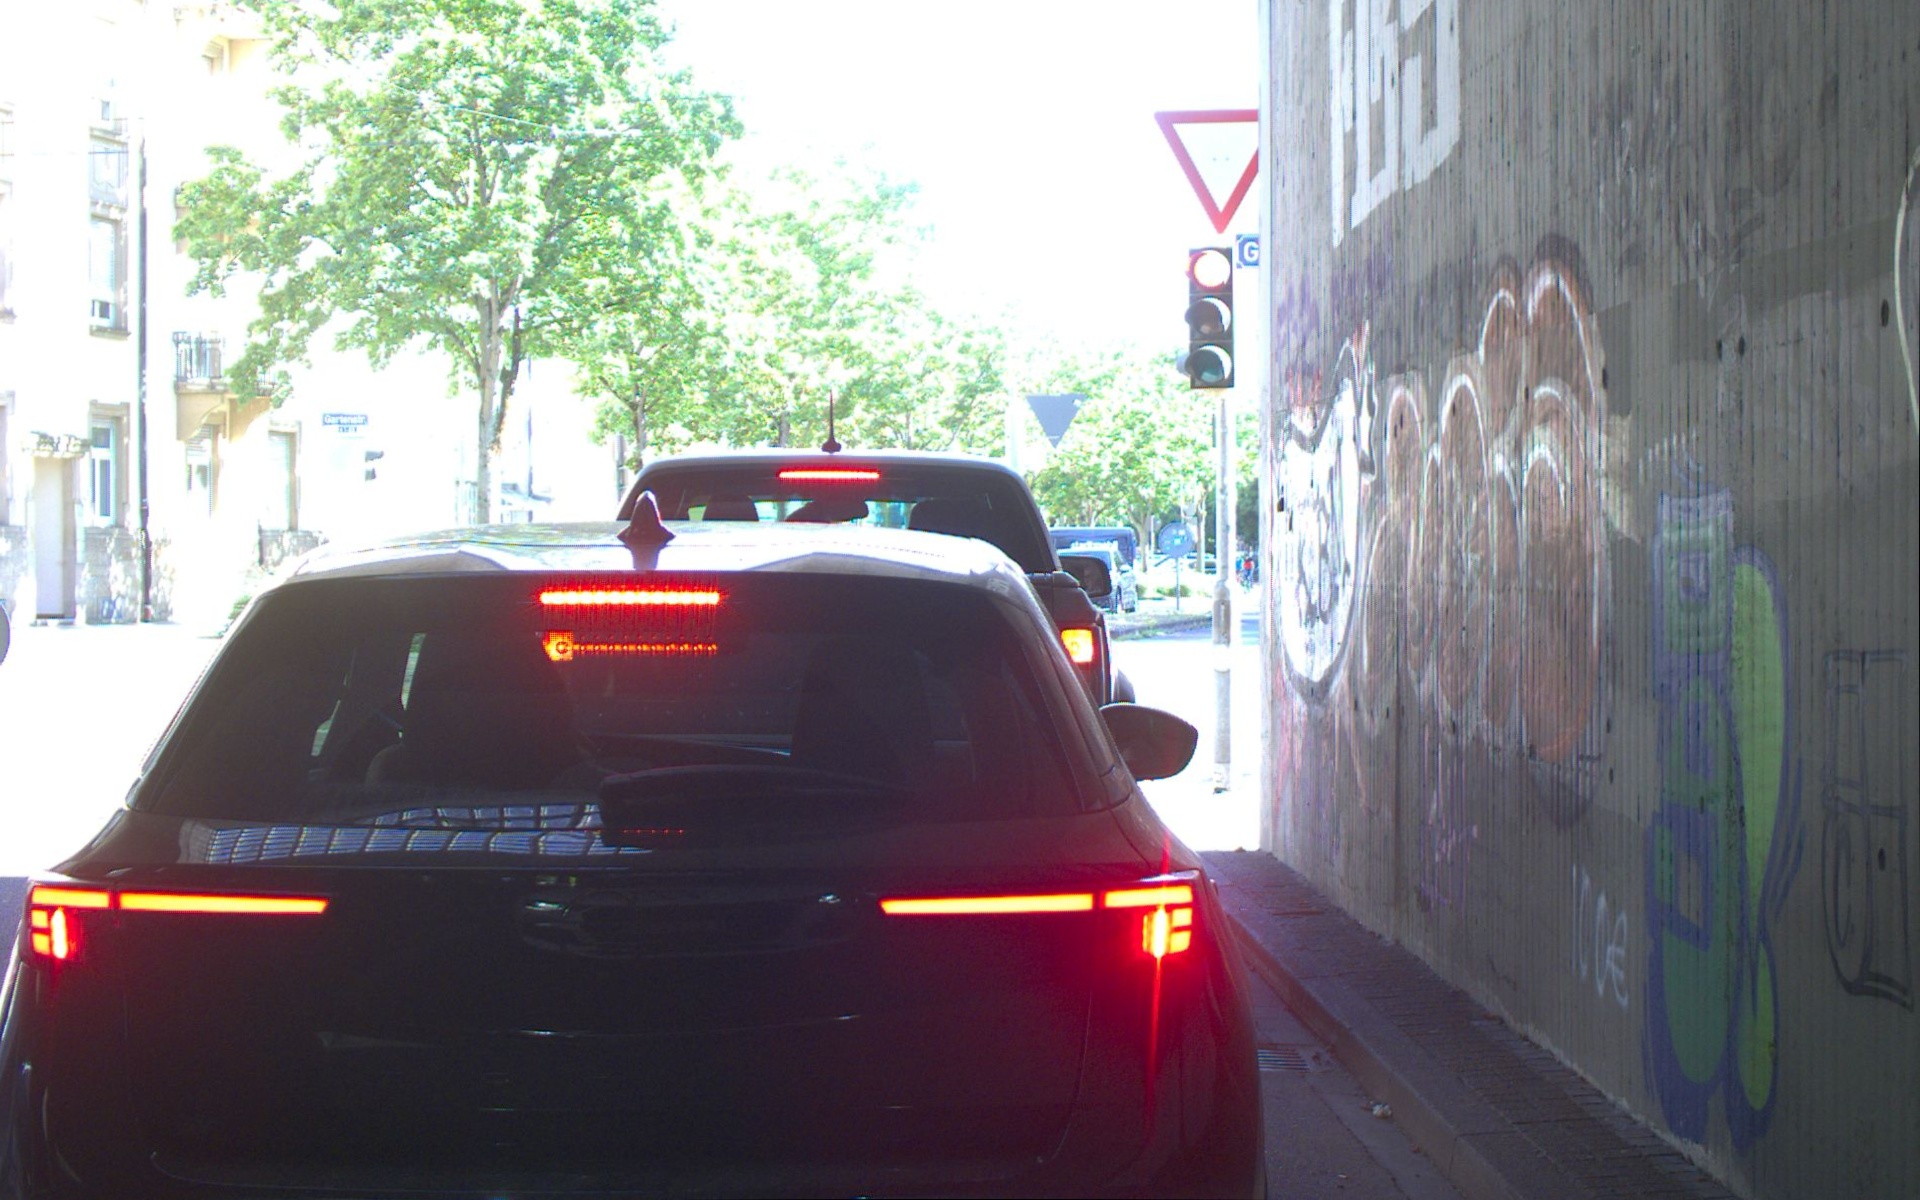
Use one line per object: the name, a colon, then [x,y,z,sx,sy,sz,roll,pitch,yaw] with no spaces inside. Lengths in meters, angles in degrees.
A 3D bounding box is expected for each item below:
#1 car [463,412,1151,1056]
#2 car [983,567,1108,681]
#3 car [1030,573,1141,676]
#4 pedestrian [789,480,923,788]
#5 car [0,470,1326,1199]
car: [-0.466,0.353,12.022,1.993,1.865,4.000,0,1,-1]
car: [1.584,0.406,62.254,1.994,1.963,4.163,1,1,5]
car: [2.532,0.454,68.469,1.994,1.963,4.163,1,1,5]
pedestrian: [-0.591,0.188,19.793,0.731,1.728,0.874,1,0,-1]
car: [-0.481,0.567,6.104,1.764,1.566,4.001,1,2,-1]
